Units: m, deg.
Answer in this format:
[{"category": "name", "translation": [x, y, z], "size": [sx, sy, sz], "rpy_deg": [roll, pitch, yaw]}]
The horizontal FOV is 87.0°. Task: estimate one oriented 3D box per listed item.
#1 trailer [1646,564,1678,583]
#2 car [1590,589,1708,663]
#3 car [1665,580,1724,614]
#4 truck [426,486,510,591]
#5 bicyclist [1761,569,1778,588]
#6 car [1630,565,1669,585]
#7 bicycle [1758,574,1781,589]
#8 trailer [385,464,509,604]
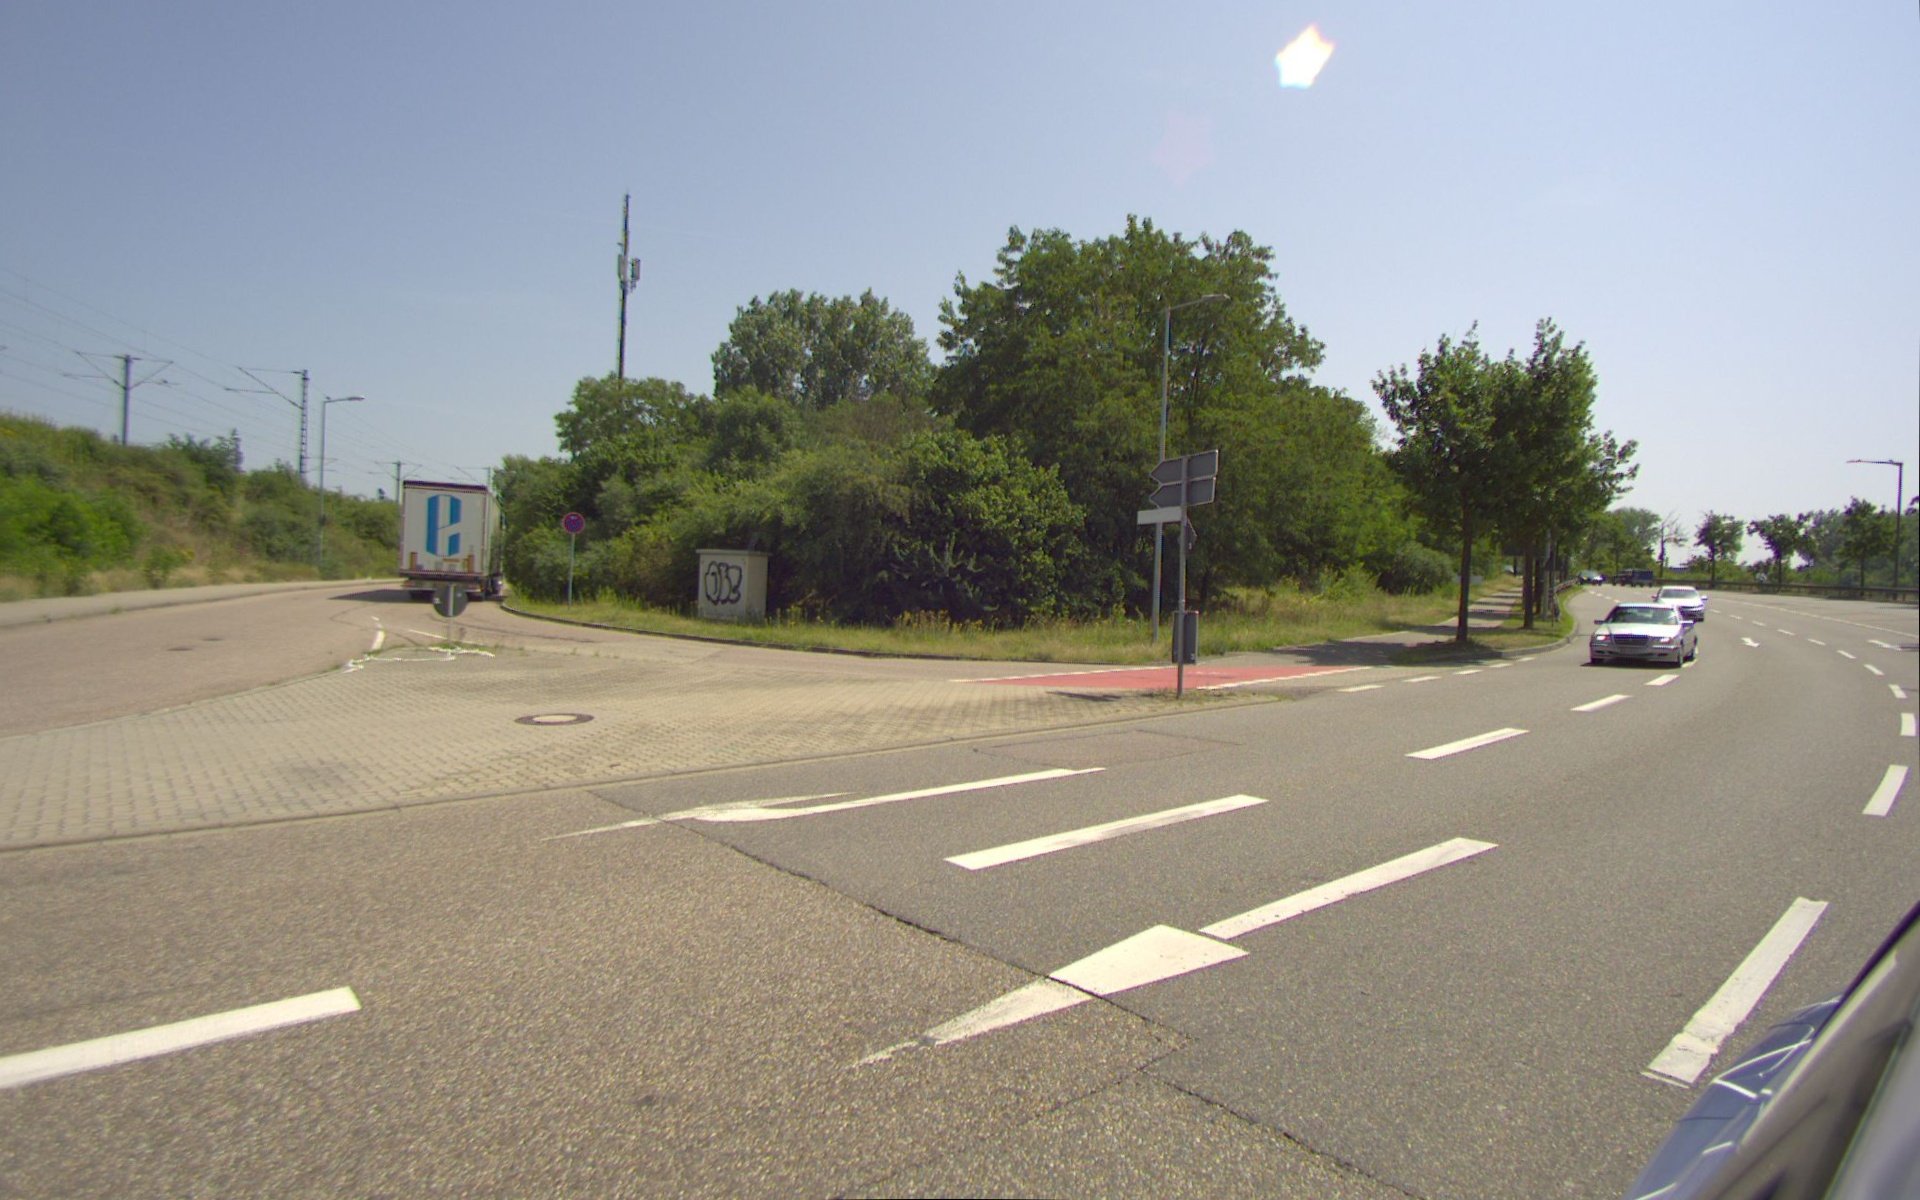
[{"category": "trailer", "translation": [64.047, -2.397, 92.379], "size": [1.491, 1.636, 3.287], "rpy_deg": [2, 0, 19]}, {"category": "car", "translation": [16.138, 0.525, 23.625], "size": [1.758, 1.517, 4.170], "rpy_deg": [2, 2, 42]}, {"category": "car", "translation": [32.107, -0.166, 44.276], "size": [1.988, 1.386, 4.178], "rpy_deg": [2, 1, 36]}, {"category": "truck", "translation": [-22.922, -2.817, 47.430], "size": [3.021, 4.422, 6.093], "rpy_deg": [2, 1, -22]}, {"category": "bicyclist", "translation": [68.036, -1.838, 85.045], "size": [0.723, 1.482, 0.819], "rpy_deg": [5, 4, 19]}, {"category": "car", "translation": [65.345, -2.372, 95.993], "size": [1.897, 1.673, 4.378], "rpy_deg": [2, 1, 20]}, {"category": "bicycle", "translation": [68.019, -1.528, 85.072], "size": [0.727, 1.129, 2.035], "rpy_deg": [5, 4, 18]}, {"category": "trailer", "translation": [-19.830, -2.442, 39.993], "size": [3.023, 4.422, 14.808], "rpy_deg": [2, 2, -22]}]
